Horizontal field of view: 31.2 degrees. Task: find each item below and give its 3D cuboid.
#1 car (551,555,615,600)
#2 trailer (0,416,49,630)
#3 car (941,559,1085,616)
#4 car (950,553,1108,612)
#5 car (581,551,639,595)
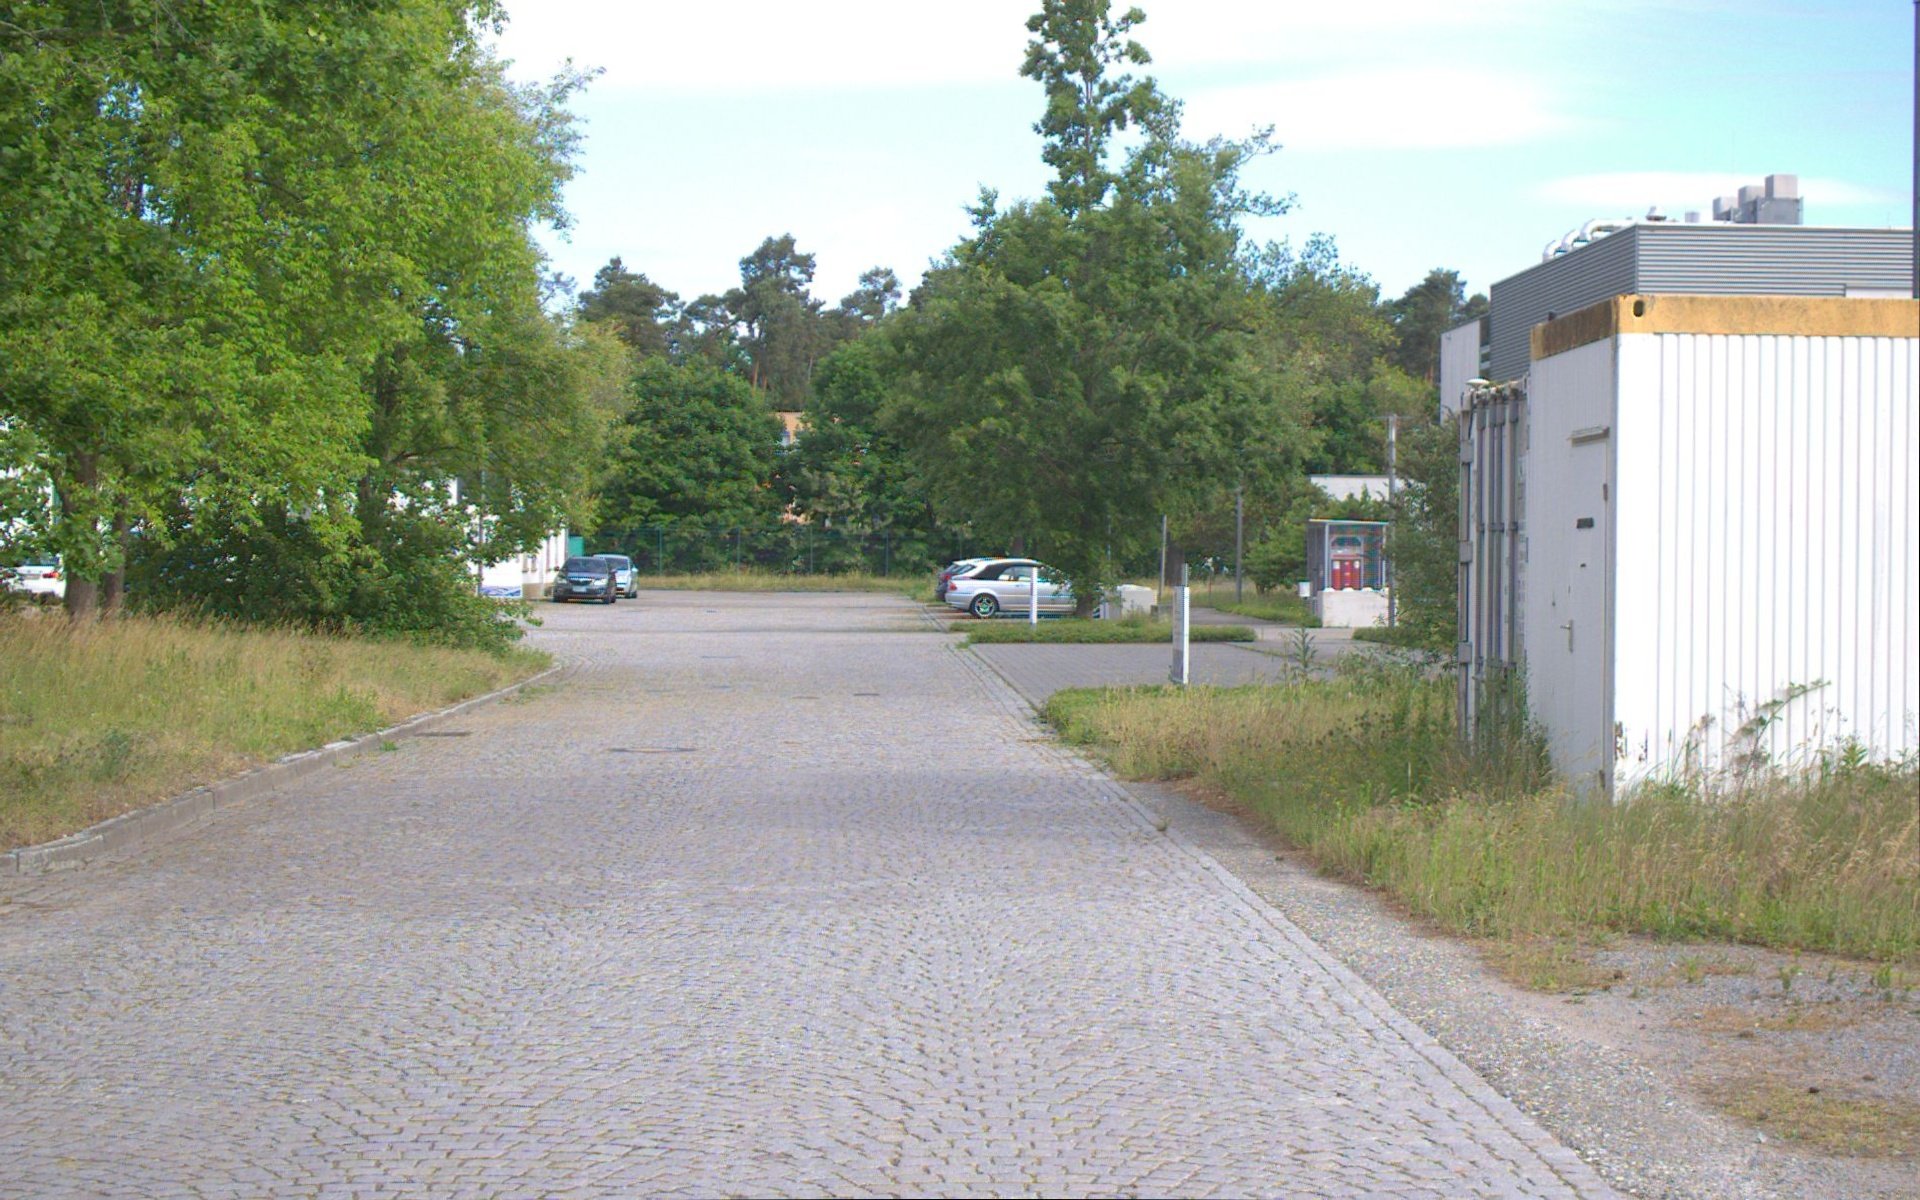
[{"bbox_3d":[-11.765,-0.727,107.530,1.647,1.364,3.998,1,1,-2],"label":"car"},{"bbox_3d":[-17.397,-1.279,55.400,2.625,3.585,10.177,1,1,0],"label":"trailer"},{"bbox_3d":[1.315,-0.327,86.267,3.522,1.357,1.622,-1,1,-1],"label":"car"},{"bbox_3d":[1.772,-0.460,88.972,3.984,1.443,1.653,-1,1,-1],"label":"car"},{"bbox_3d":[-11.984,-0.925,117.870,1.647,1.453,3.998,1,1,-2],"label":"car"}]
